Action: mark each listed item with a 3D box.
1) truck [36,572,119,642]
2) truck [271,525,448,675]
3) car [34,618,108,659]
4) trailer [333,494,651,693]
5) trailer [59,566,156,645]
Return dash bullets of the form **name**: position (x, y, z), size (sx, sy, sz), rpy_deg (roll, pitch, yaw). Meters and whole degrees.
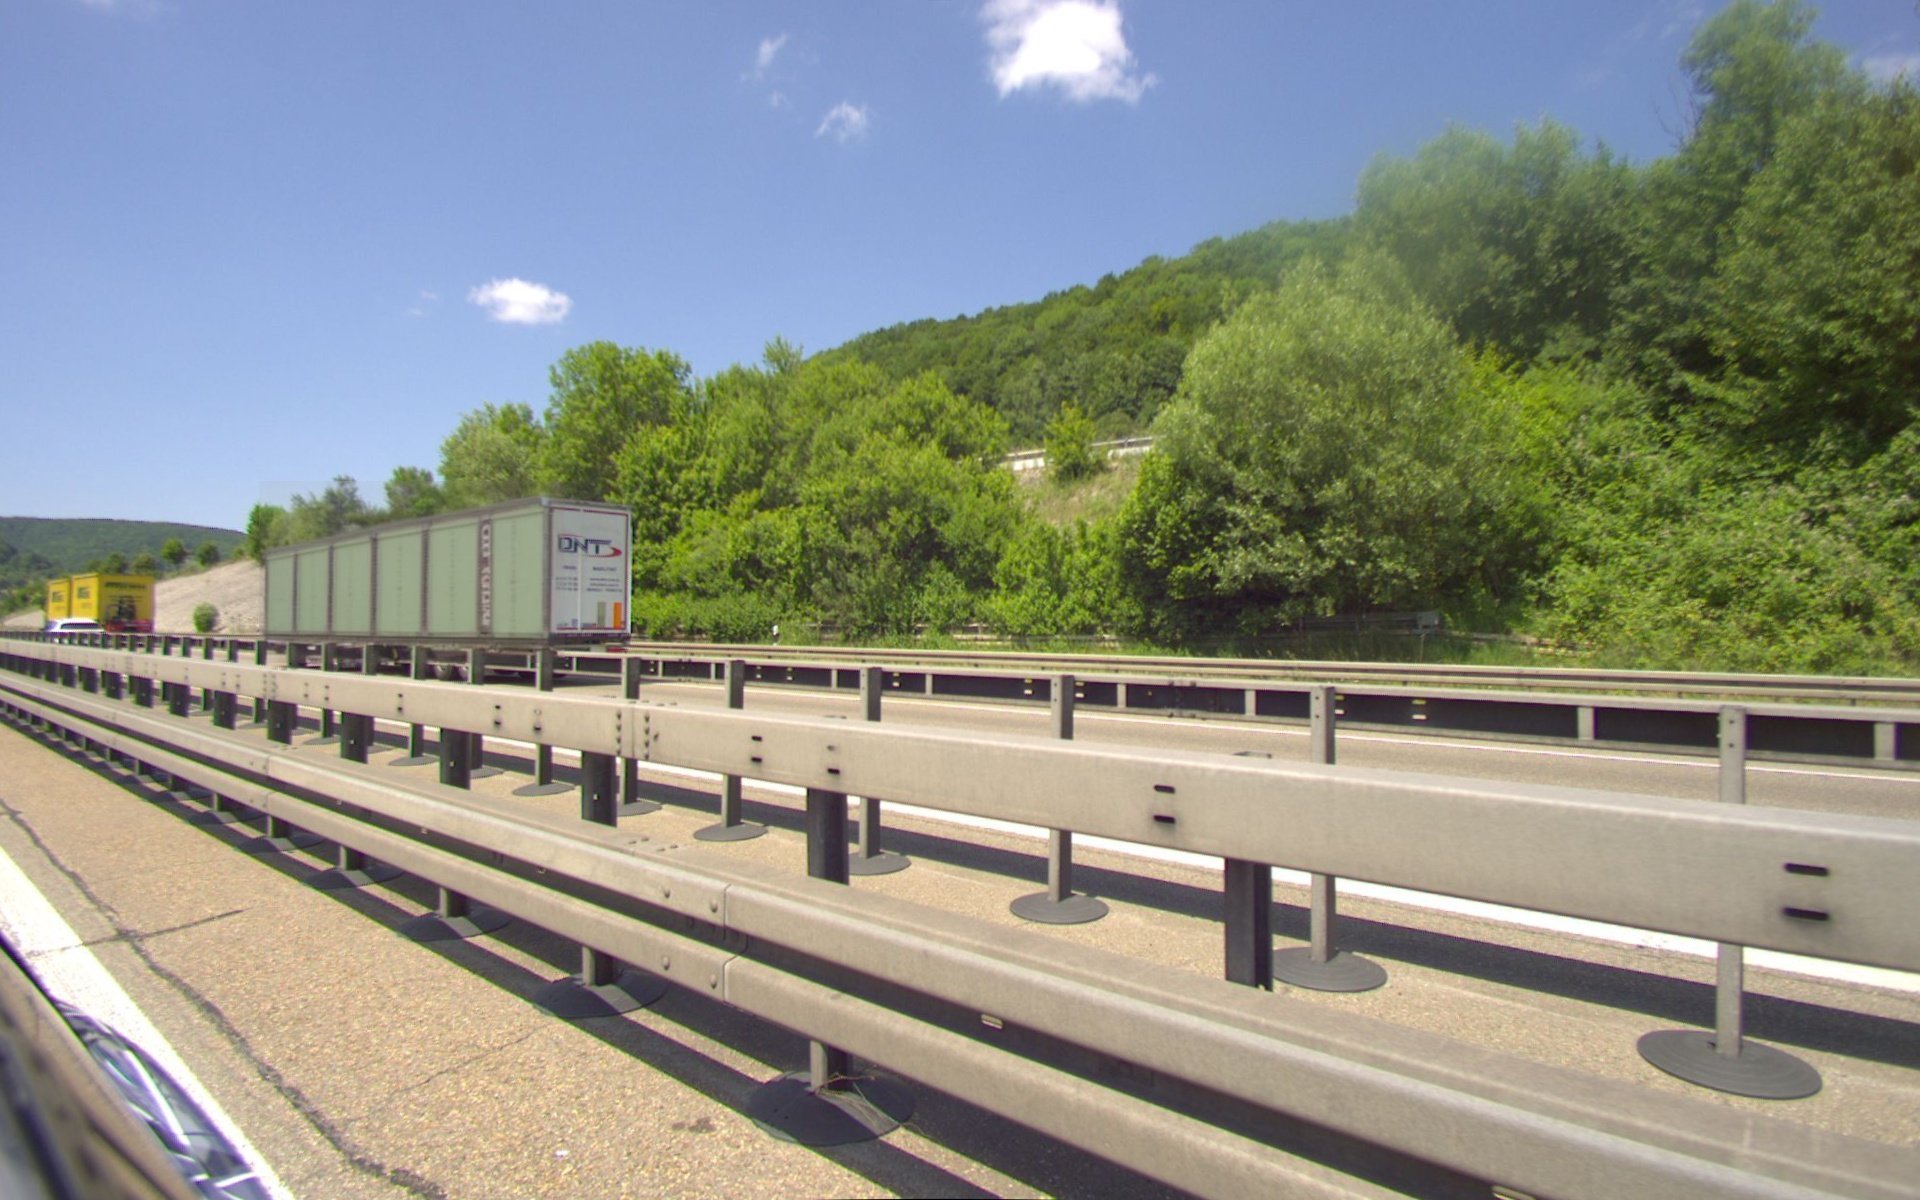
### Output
- **truck**: position (-56.757, 0.491, 64.987), size (9.610, 4.178, 2.797), rpy_deg (-1, -1, 41)
- **truck**: position (-18.473, 0.084, 31.024), size (5.845, 4.133, 2.879), rpy_deg (-1, -3, 41)
- **car**: position (-35.548, 1.492, 40.438), size (3.998, 1.530, 1.729), rpy_deg (-1, 0, 41)
- **trailer**: position (-12.237, -0.017, 25.589), size (11.256, 4.107, 2.827), rpy_deg (-1, -2, 41)
- **trailer**: position (-49.293, 0.352, 58.381), size (10.400, 4.178, 2.797), rpy_deg (-1, -1, 41)
